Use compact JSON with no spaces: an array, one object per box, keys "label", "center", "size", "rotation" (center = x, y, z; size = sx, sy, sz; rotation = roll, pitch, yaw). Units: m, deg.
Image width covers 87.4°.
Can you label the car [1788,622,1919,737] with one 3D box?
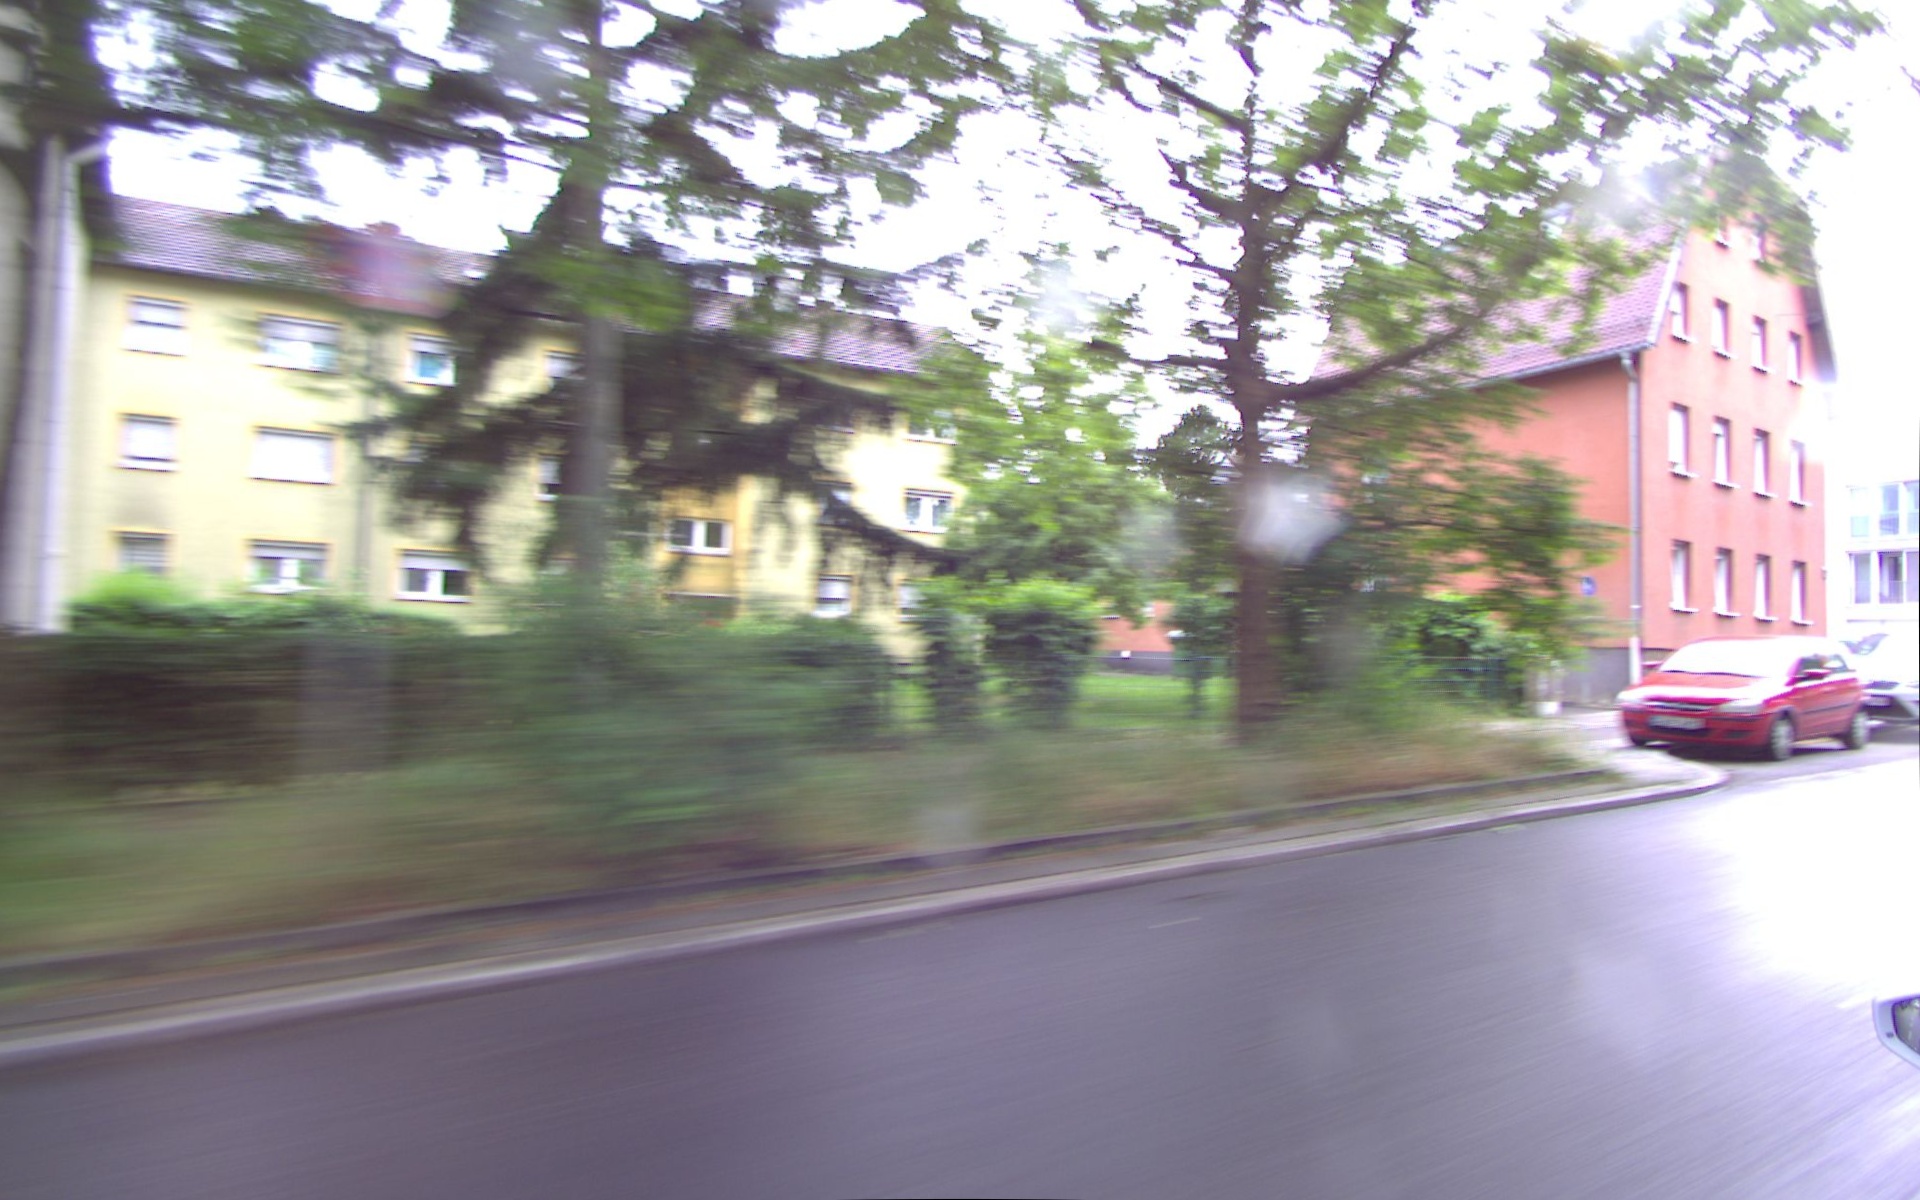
[{"label":"car","center":[14.520,1.144,15.215],"size":[4.068,1.562,1.684],"rotation":[1,-4,-30]}]

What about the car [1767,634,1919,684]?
[{"label":"car","center":[28.738,1.838,32.004],"size":[2.044,1.482,4.270],"rotation":[1,-2,-29]}]

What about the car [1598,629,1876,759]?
[{"label":"car","center":[9.887,1.100,12.723],"size":[3.717,1.391,1.630],"rotation":[2,-1,-32]}]

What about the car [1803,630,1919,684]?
[{"label":"car","center":[30.931,1.859,33.310],"size":[1.974,1.720,4.136],"rotation":[1,-2,-26]}]
